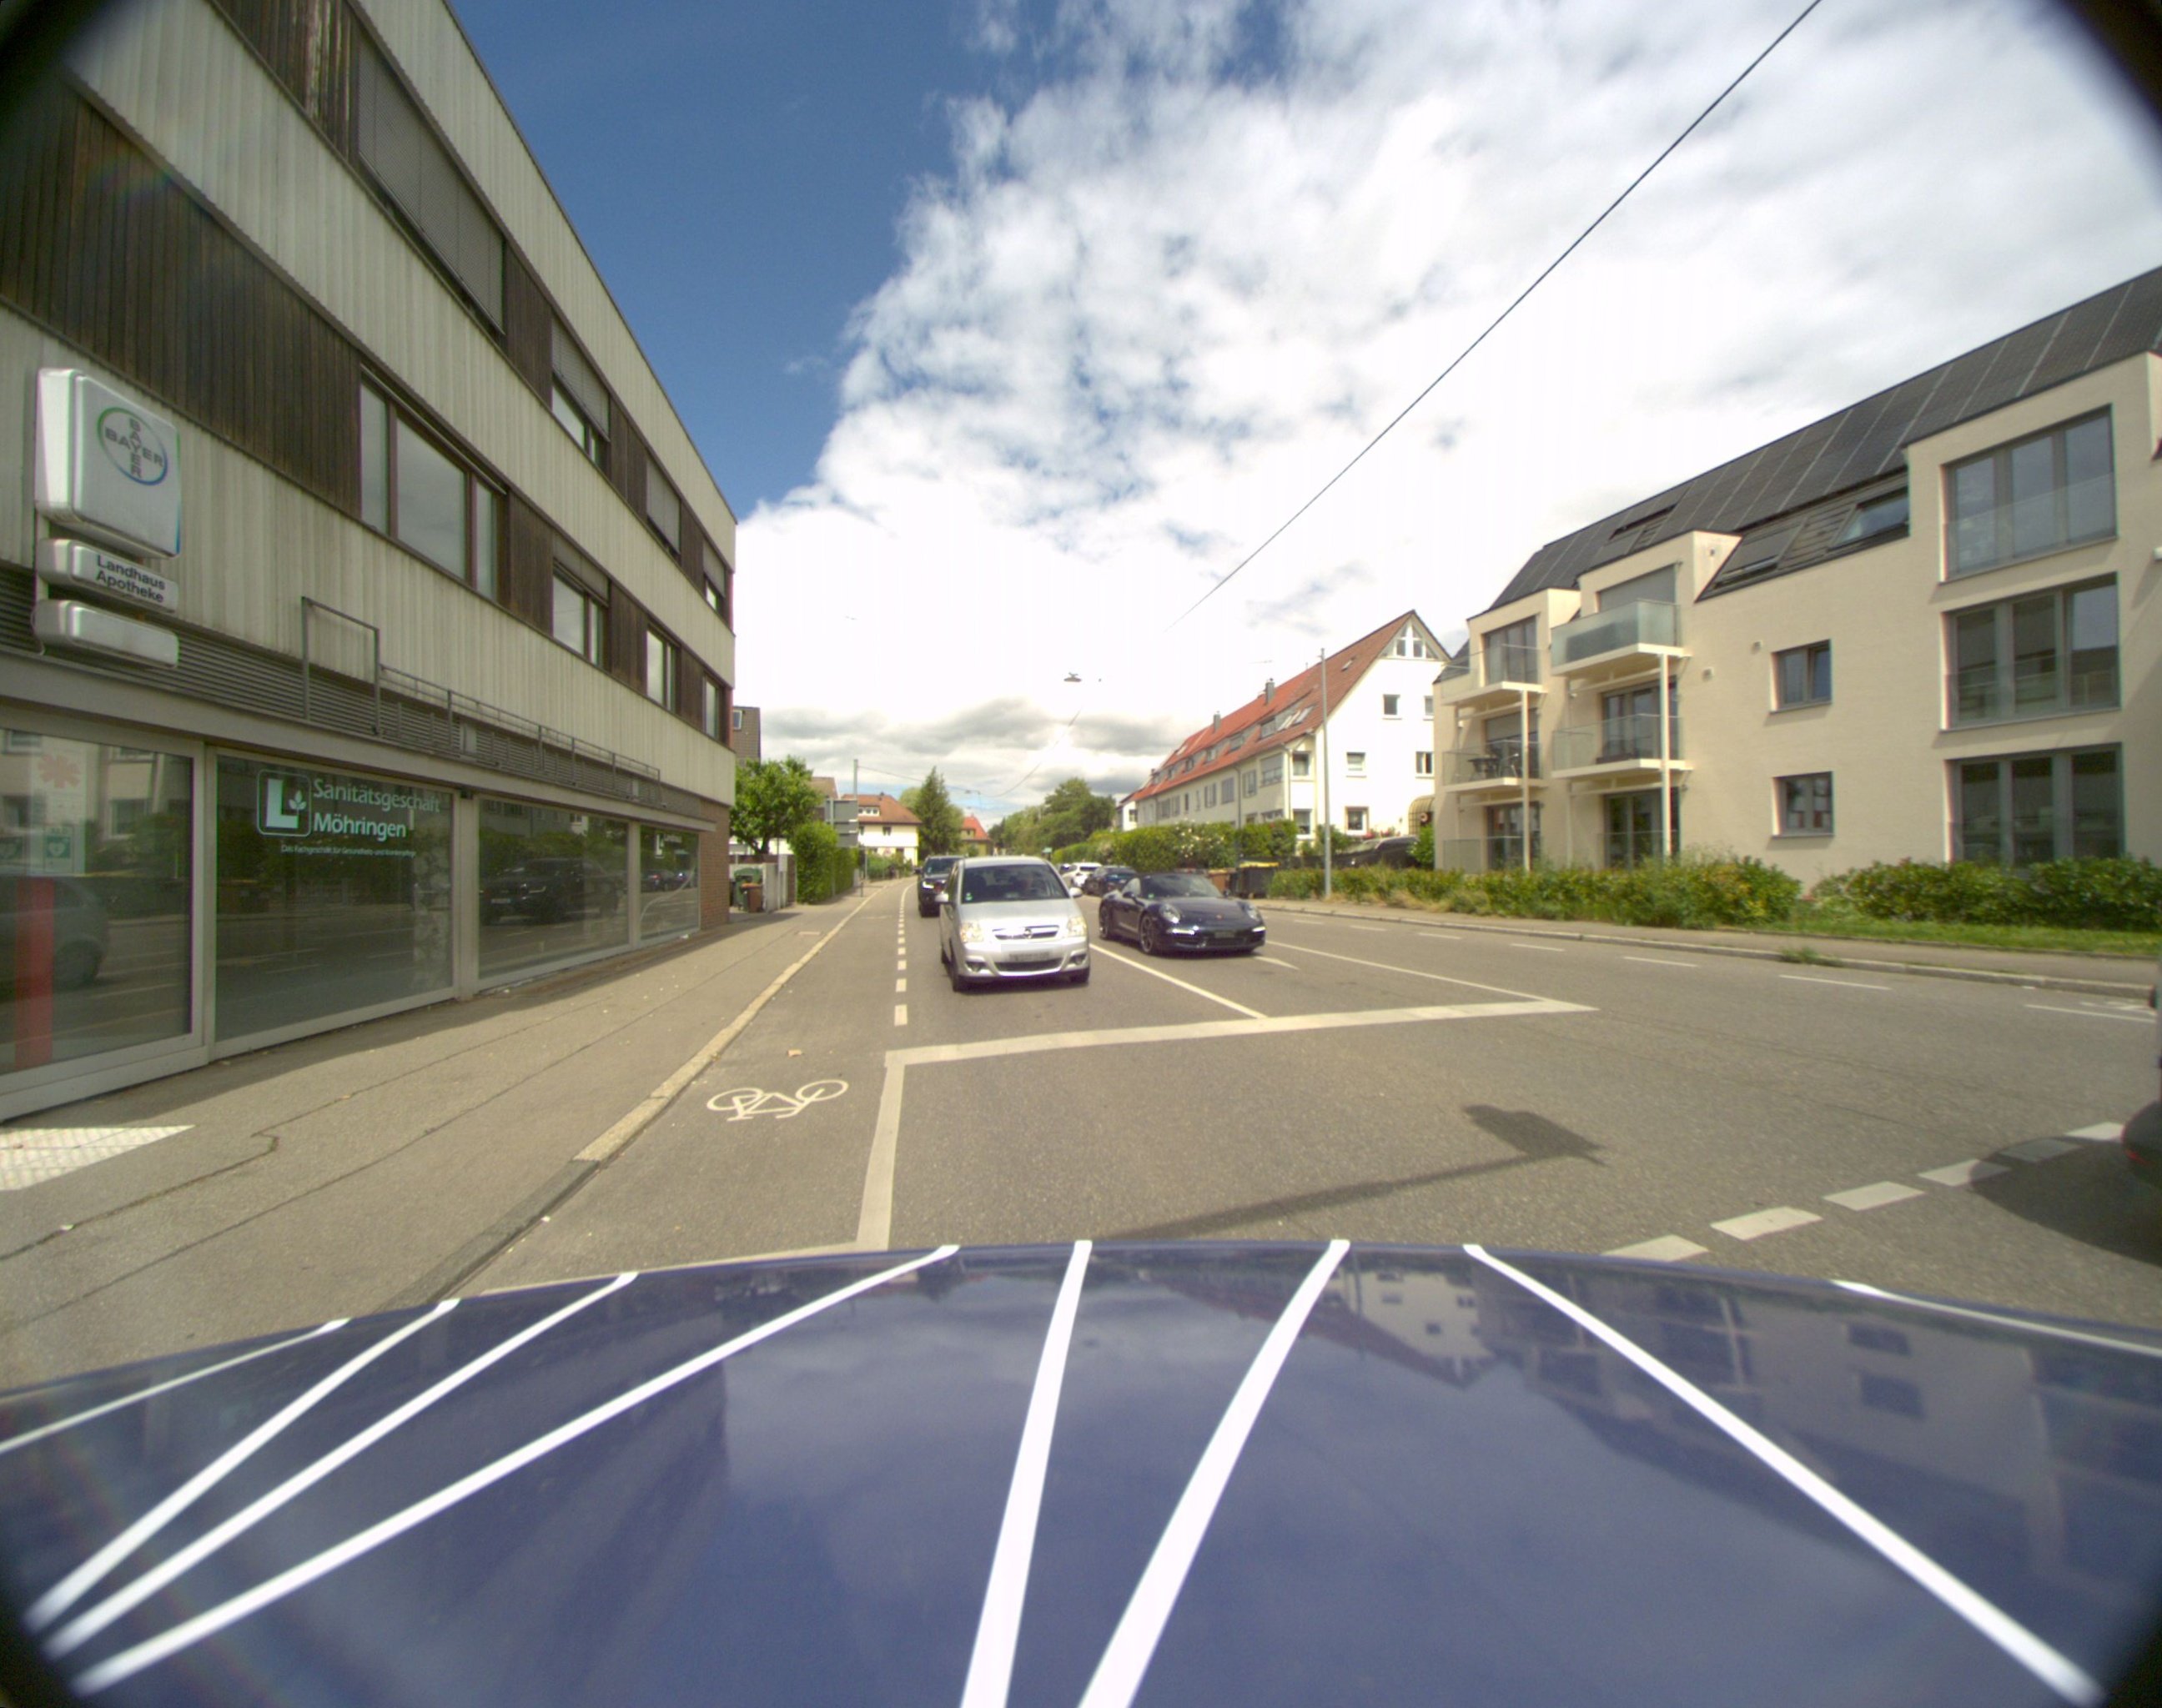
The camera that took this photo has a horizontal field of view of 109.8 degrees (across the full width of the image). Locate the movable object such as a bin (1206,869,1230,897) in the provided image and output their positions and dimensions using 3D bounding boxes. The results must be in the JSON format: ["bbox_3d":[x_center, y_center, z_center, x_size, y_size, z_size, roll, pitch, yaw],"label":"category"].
[{"bbox_3d":[5.479,1.150,30.417,0.764,1.059,0.692,-1,0,-6],"label":"movable object such as a bin"}]

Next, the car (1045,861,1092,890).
[{"bbox_3d":[-0.817,1.236,45.940,2.001,1.623,4.232,-1,0,-13],"label":"car"}]

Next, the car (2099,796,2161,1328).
[{"bbox_3d":[5.274,0.660,0.981,1.824,1.801,4.410,-1,0,-22],"label":"car"}]

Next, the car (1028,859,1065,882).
[{"bbox_3d":[-2.608,1.220,56.672,2.001,1.623,4.232,-1,0,-13],"label":"car"}]

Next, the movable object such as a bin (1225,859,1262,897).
[{"bbox_3d":[6.295,0.917,29.481,1.093,1.438,0.980,-1,0,-13],"label":"movable object such as a bin"}]

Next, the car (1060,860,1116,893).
[{"bbox_3d":[0.312,1.160,40.711,2.001,1.623,4.448,-1,0,-13],"label":"car"}]

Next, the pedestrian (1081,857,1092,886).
[{"bbox_3d":[0.375,1.127,49.110,0.533,1.805,0.511,-1,0,-17],"label":"pedestrian"}]

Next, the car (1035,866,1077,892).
[{"bbox_3d":[-1.751,1.652,51.626,2.001,1.623,4.232,2,-1,-13],"label":"car"}]

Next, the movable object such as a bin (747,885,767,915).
[{"bbox_3d":[-10.362,1.457,24.281,0.519,0.916,0.478,-2,0,-31],"label":"movable object such as a bin"}]

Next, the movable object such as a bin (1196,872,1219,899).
[{"bbox_3d":[5.191,1.288,31.126,0.764,1.059,0.692,-1,0,-6],"label":"movable object such as a bin"}]

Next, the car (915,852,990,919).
[{"bbox_3d":[-4.195,0.906,24.101,1.889,1.838,5.214,-1,0,-14],"label":"car"}]

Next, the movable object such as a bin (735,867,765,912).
[{"bbox_3d":[-10.945,1.169,25.125,0.810,1.446,0.478,-2,0,-17],"label":"movable object such as a bin"}]

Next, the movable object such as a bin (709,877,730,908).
[{"bbox_3d":[-12.881,1.357,27.077,0.597,1.069,0.488,-2,0,-32],"label":"movable object such as a bin"}]

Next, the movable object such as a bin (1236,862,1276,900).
[{"bbox_3d":[6.514,0.988,28.358,1.093,1.354,0.980,-1,0,-13],"label":"movable object such as a bin"}]

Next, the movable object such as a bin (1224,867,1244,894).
[{"bbox_3d":[6.104,1.063,30.362,0.522,1.059,0.658,-1,0,39],"label":"movable object such as a bin"}]

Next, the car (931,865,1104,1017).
[{"bbox_3d":[-1.057,0.960,10.303,1.776,1.566,3.997,-1,0,-13],"label":"car"}]

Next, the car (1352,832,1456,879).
[{"bbox_3d":[14.989,0.050,35.294,4.001,2.002,1.998,-2,0,-13],"label":"car"}]

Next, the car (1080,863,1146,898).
[{"bbox_3d":[1.448,1.196,36.021,1.821,1.492,4.447,-1,0,-15],"label":"car"}]

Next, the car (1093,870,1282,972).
[{"bbox_3d":[1.599,0.998,13.002,1.816,1.356,4.039,-1,0,-14],"label":"car"}]
